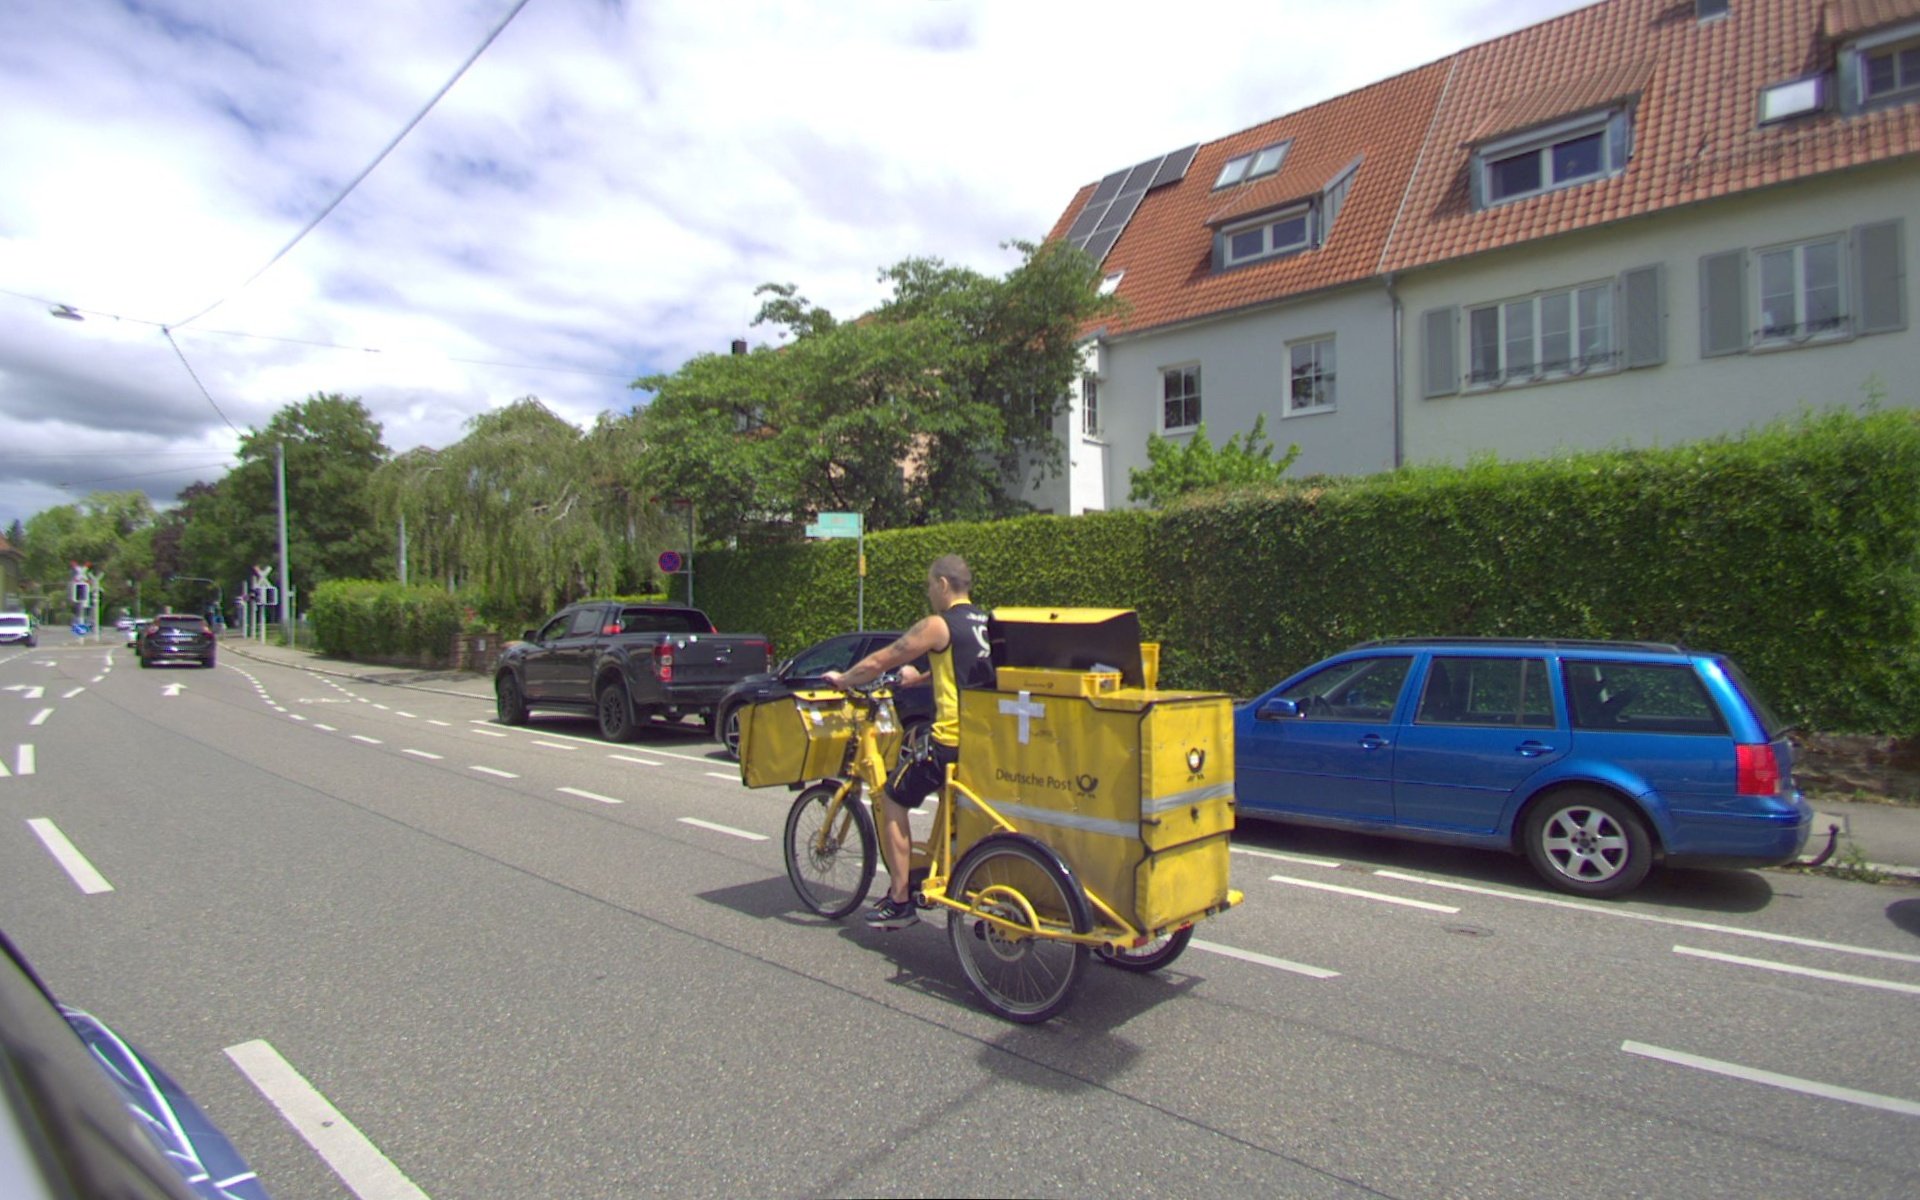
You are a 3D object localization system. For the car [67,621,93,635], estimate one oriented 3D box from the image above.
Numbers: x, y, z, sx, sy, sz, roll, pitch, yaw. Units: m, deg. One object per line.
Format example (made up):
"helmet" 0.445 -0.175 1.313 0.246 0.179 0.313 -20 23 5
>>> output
"car" -98.524 3.151 113.377 1.968 1.438 4.008 -1 0 -38

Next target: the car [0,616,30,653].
"car" -49.267 1.763 52.070 1.904 1.795 4.006 -1 0 -40

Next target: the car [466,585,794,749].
"car" -4.846 0.863 14.336 5.402 1.909 1.972 -1 -4 42

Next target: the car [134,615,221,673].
"car" -25.228 1.402 32.567 1.892 1.661 4.300 6 -5 -40

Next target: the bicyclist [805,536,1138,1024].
"bicyclist" 0.022 0.652 4.301 1.209 1.727 0.783 -2 -2 44

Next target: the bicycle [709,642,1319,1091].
"bicycle" 0.044 0.853 4.290 2.661 1.311 0.854 -1 -2 43

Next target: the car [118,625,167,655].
"car" -42.809 2.077 52.955 1.853 1.487 4.449 2 -2 -41

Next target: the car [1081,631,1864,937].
"car" 3.170 0.943 6.953 4.436 1.428 1.760 -1 -2 40

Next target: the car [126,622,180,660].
"car" -34.174 1.711 42.830 1.675 1.467 4.123 3 -2 -40

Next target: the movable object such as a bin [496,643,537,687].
"movable object such as a bin" -10.099 1.467 23.056 0.669 0.952 0.645 -1 0 -45

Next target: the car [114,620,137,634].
"car" -90.047 2.928 109.231 1.904 1.431 4.008 -1 0 -39

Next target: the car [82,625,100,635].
"car" -126.448 4.367 147.262 1.904 1.431 4.008 -1 0 -39

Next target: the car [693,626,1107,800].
"car" -0.786 0.992 10.504 4.338 1.428 1.759 -1 -2 42
